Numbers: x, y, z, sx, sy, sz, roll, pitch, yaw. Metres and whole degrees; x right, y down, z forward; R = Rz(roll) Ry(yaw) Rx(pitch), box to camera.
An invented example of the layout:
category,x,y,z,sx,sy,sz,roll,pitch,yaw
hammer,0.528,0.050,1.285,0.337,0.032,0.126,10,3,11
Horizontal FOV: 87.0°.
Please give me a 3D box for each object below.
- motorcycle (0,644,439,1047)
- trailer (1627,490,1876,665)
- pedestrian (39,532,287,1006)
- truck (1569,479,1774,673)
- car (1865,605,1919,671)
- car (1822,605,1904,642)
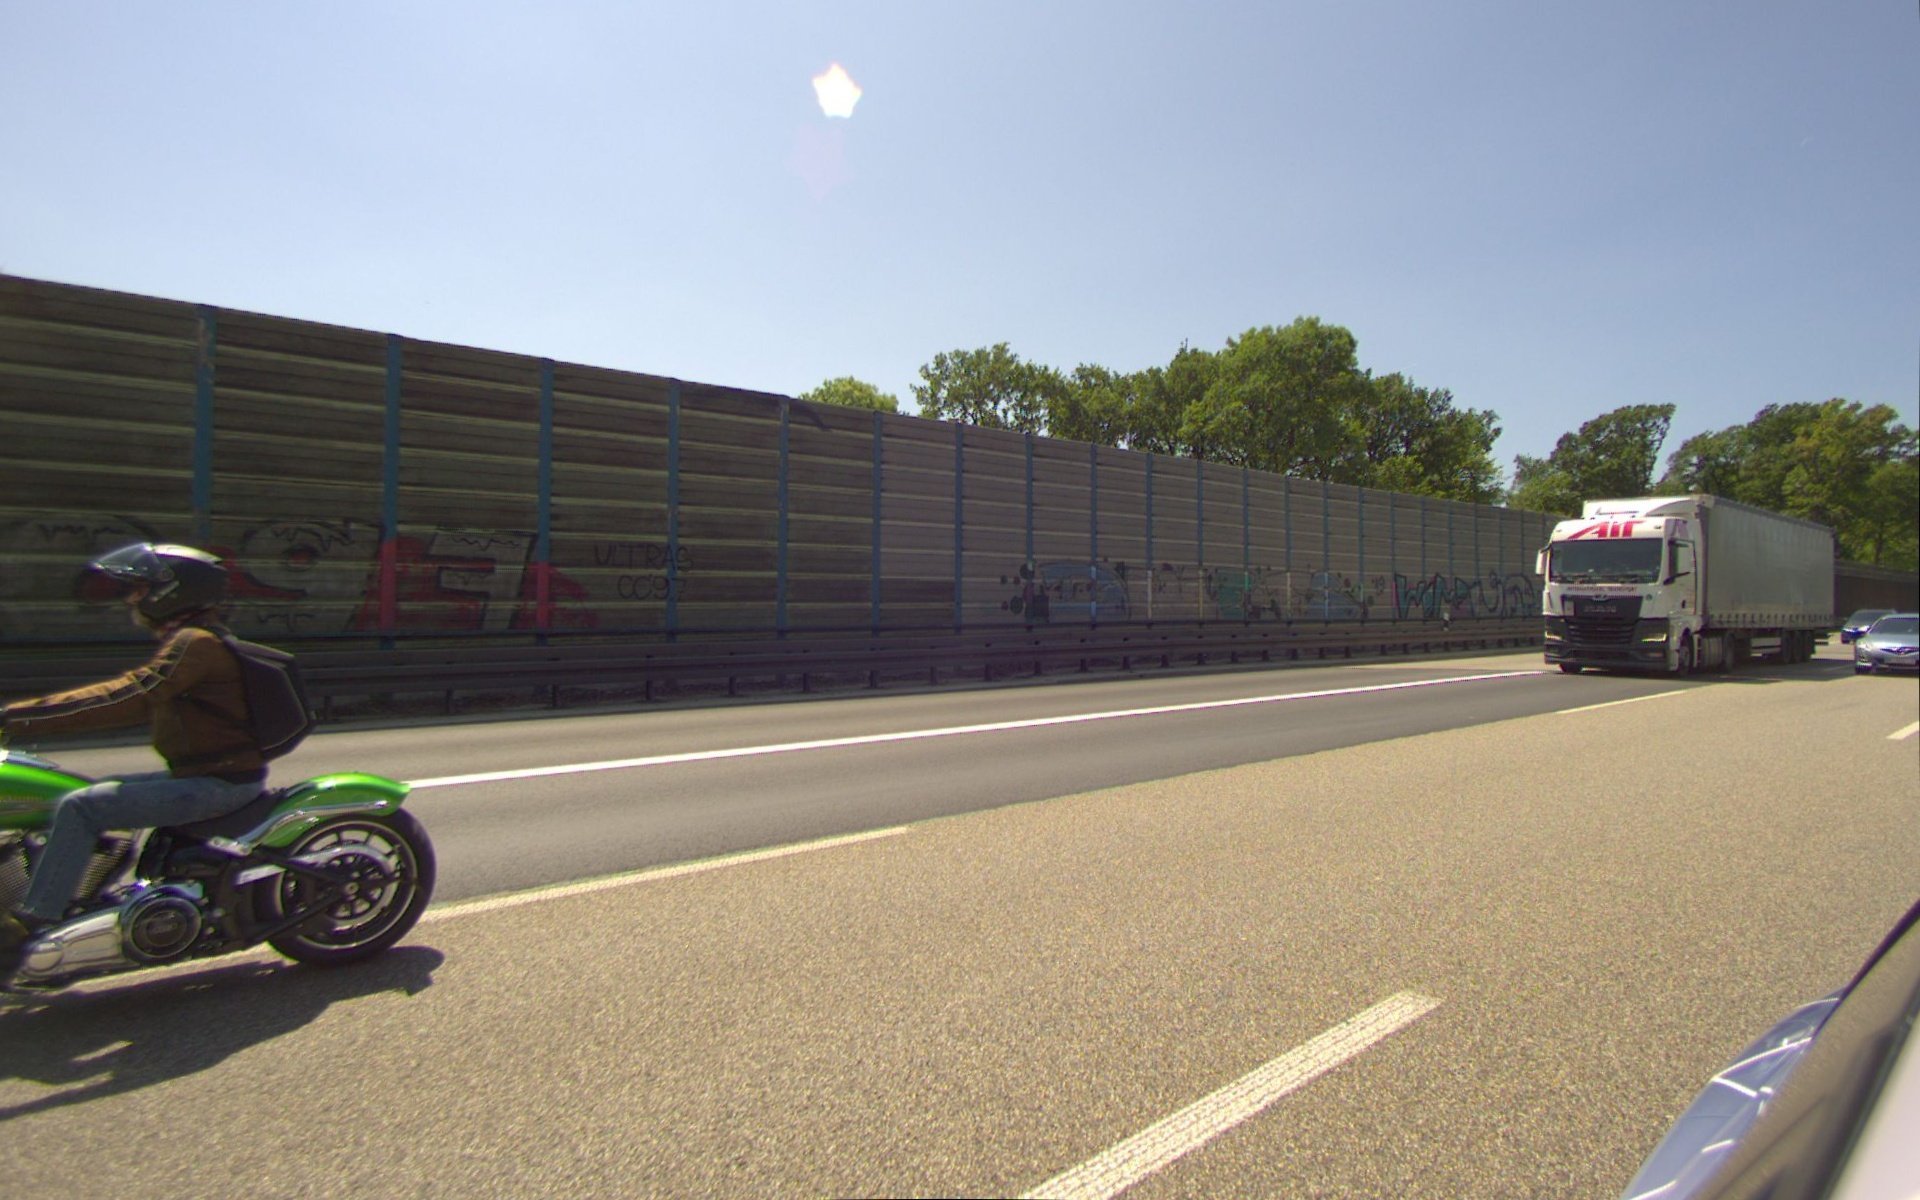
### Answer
category,x,y,z,sx,sy,sz,roll,pitch,yaw
motorcycle,-3.154,0.785,3.542,2.234,1.197,0.862,1,-1,-38
trailer,23.141,-0.543,29.105,13.344,4.142,2.604,0,0,-38
pedestrian,-2.908,0.535,3.736,0.626,1.497,0.854,1,-1,-37
truck,17.190,-0.532,24.358,5.451,4.142,2.604,0,0,-38
car,22.919,0.869,23.781,4.101,1.452,1.860,1,-1,-39
car,38.862,1.000,43.523,4.098,1.512,1.861,1,-1,-37
